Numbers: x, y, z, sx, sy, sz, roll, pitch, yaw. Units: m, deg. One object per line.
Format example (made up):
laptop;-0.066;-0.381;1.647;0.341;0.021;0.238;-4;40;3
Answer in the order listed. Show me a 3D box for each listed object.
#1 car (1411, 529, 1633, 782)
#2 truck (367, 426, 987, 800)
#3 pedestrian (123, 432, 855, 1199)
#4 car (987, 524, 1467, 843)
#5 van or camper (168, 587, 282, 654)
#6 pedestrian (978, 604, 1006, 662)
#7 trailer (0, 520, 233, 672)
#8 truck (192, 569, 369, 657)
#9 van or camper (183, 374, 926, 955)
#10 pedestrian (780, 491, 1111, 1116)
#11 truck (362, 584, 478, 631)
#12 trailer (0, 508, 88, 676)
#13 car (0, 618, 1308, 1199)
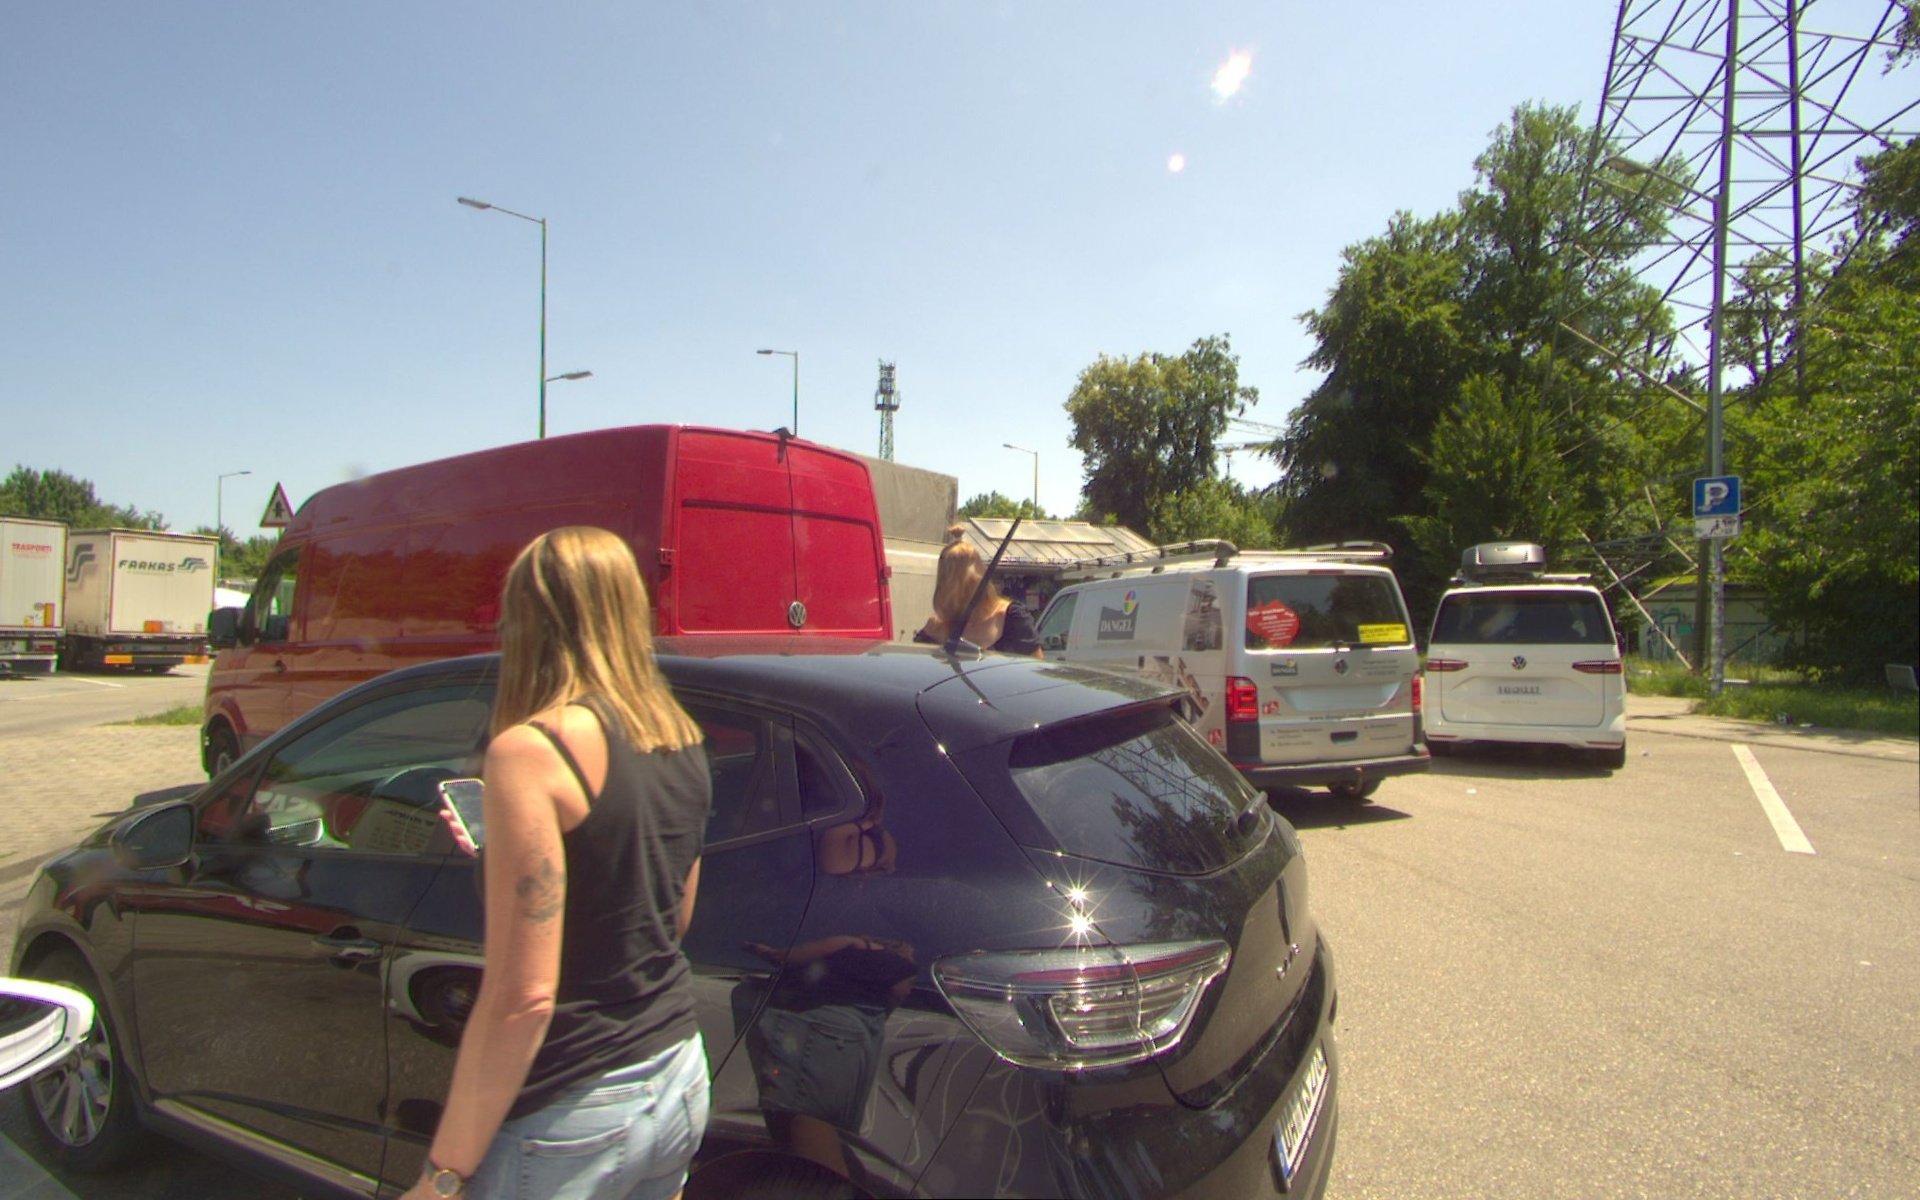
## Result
car;6.527;0.568;11.556;1.892;2.354;4.074;-1;-1;32
truck;-3.273;0.131;10.555;6.874;2.828;2.460;0;-1;35
pedestrian;-0.545;0.640;1.361;0.636;1.606;0.654;1;0;8
car;2.044;0.601;9.693;1.964;2.178;5.304;-2;0;-17
van or camper;-30.425;0.814;41.382;5.296;2.595;2.100;0;-1;34
pedestrian;0.915;0.939;28.589;0.751;1.629;0.756;1;0;2
trailer;-27.307;-0.205;31.460;12.255;4.090;2.862;2;-1;33
truck;-31.706;0.500;46.472;11.255;3.615;2.484;2;-1;33
van or camper;-3.378;0.323;7.349;6.394;2.688;1.990;0;-1;36
pedestrian;-0.059;0.630;3.637;0.907;1.896;0.767;0;-1;44
truck;-34.736;0.459;64.274;9.637;2.857;2.121;0;-1;33
trailer;-28.368;-0.335;27.795;12.255;4.090;2.862;2;-1;33
car;-1.072;0.834;2.842;3.706;1.503;1.615;0;-1;27
